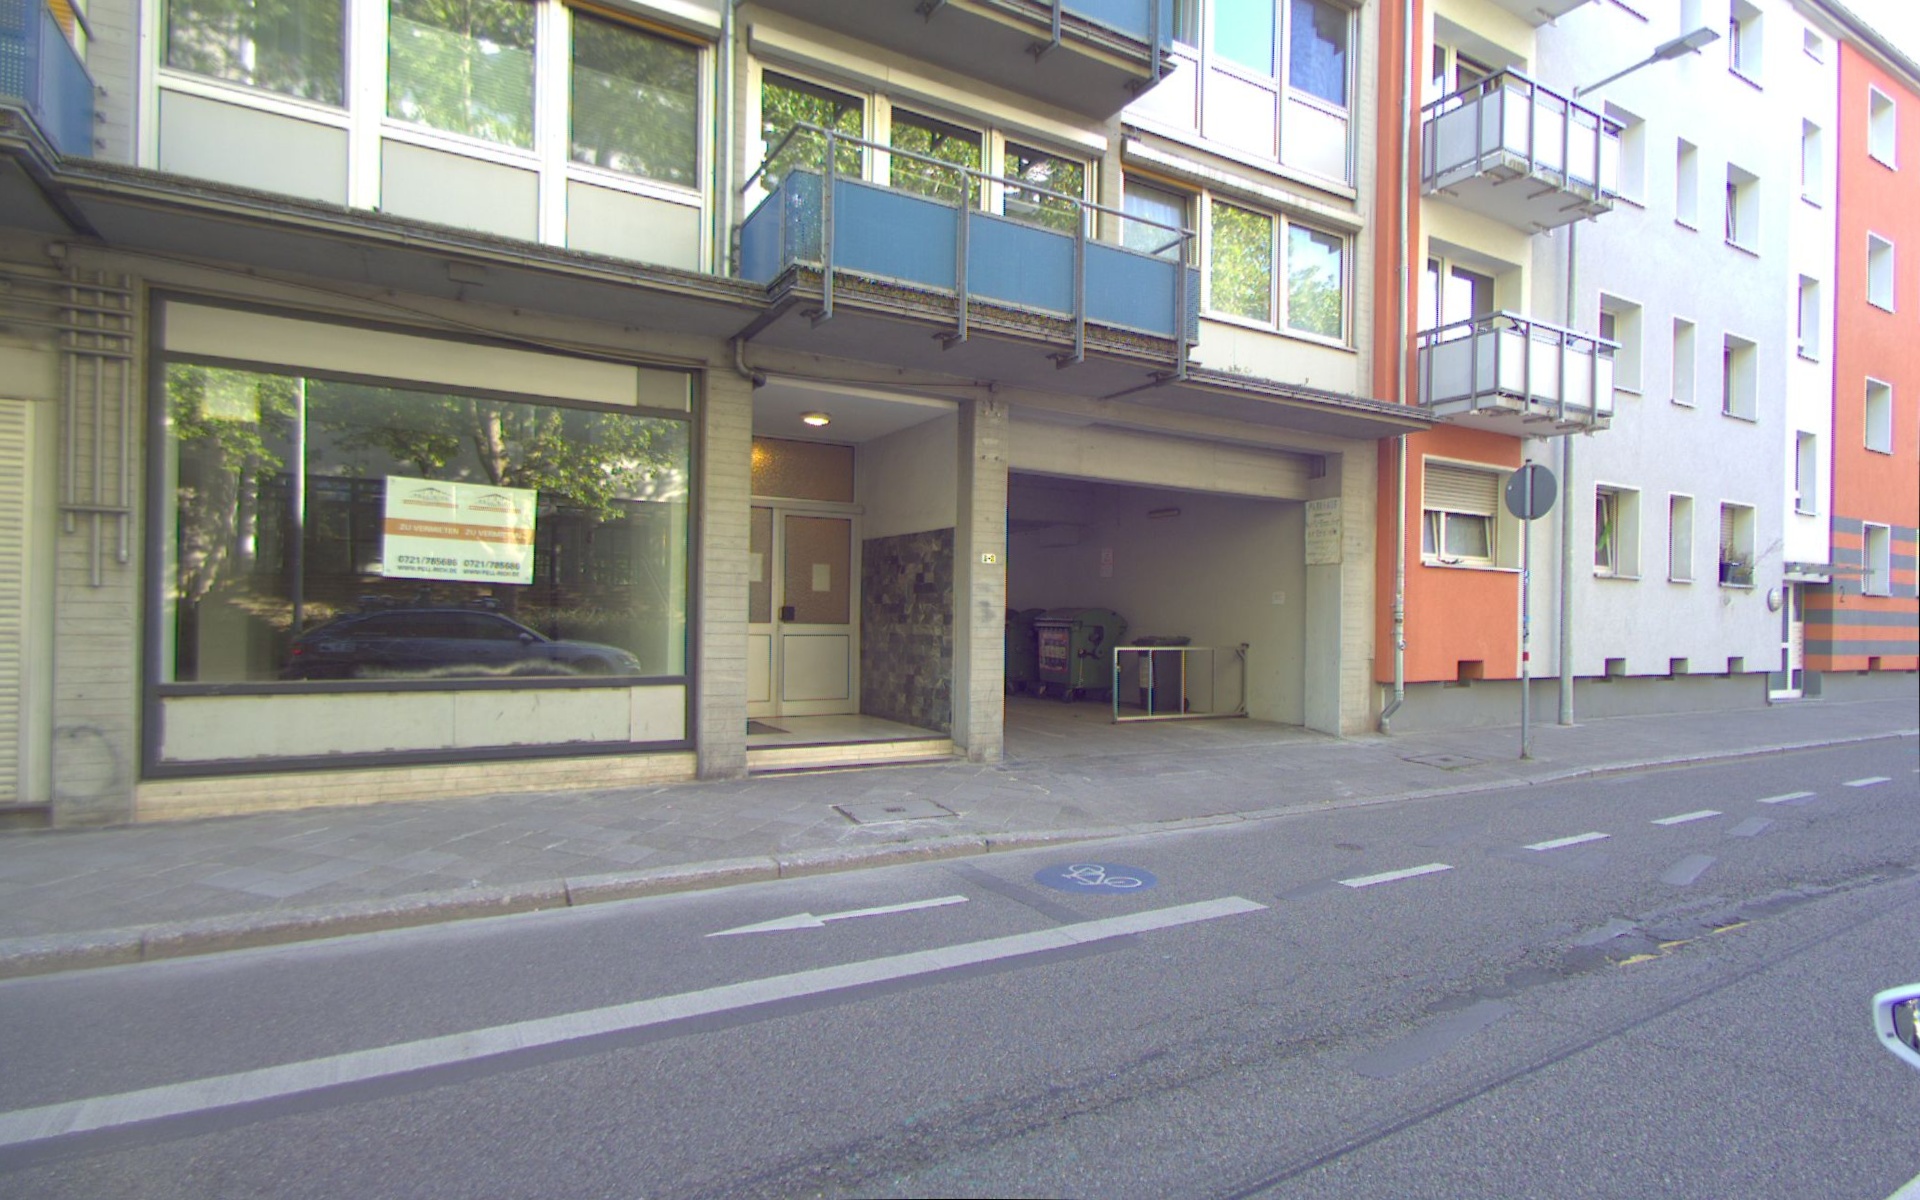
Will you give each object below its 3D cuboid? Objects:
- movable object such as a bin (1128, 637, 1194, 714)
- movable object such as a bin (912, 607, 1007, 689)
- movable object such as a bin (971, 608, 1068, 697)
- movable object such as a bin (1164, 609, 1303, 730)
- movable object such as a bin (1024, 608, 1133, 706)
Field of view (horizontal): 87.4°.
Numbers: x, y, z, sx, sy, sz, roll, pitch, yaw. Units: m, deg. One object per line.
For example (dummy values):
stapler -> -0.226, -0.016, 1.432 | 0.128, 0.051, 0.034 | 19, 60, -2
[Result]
movable object such as a bin -> 2.901, 1.076, 14.536 | 0.695, 1.055, 0.593 | 2, 0, -30
movable object such as a bin -> -0.027, 0.867, 18.880 | 1.119, 1.449, 1.666 | 1, -1, -28
movable object such as a bin -> 1.000, 0.869, 17.177 | 1.119, 1.449, 1.322 | 1, 0, -28
movable object such as a bin -> 3.492, 0.851, 12.906 | 1.119, 1.449, 1.322 | 1, 0, -28
movable object such as a bin -> 1.852, 0.863, 15.854 | 1.128, 1.449, 1.342 | 1, 0, -28
